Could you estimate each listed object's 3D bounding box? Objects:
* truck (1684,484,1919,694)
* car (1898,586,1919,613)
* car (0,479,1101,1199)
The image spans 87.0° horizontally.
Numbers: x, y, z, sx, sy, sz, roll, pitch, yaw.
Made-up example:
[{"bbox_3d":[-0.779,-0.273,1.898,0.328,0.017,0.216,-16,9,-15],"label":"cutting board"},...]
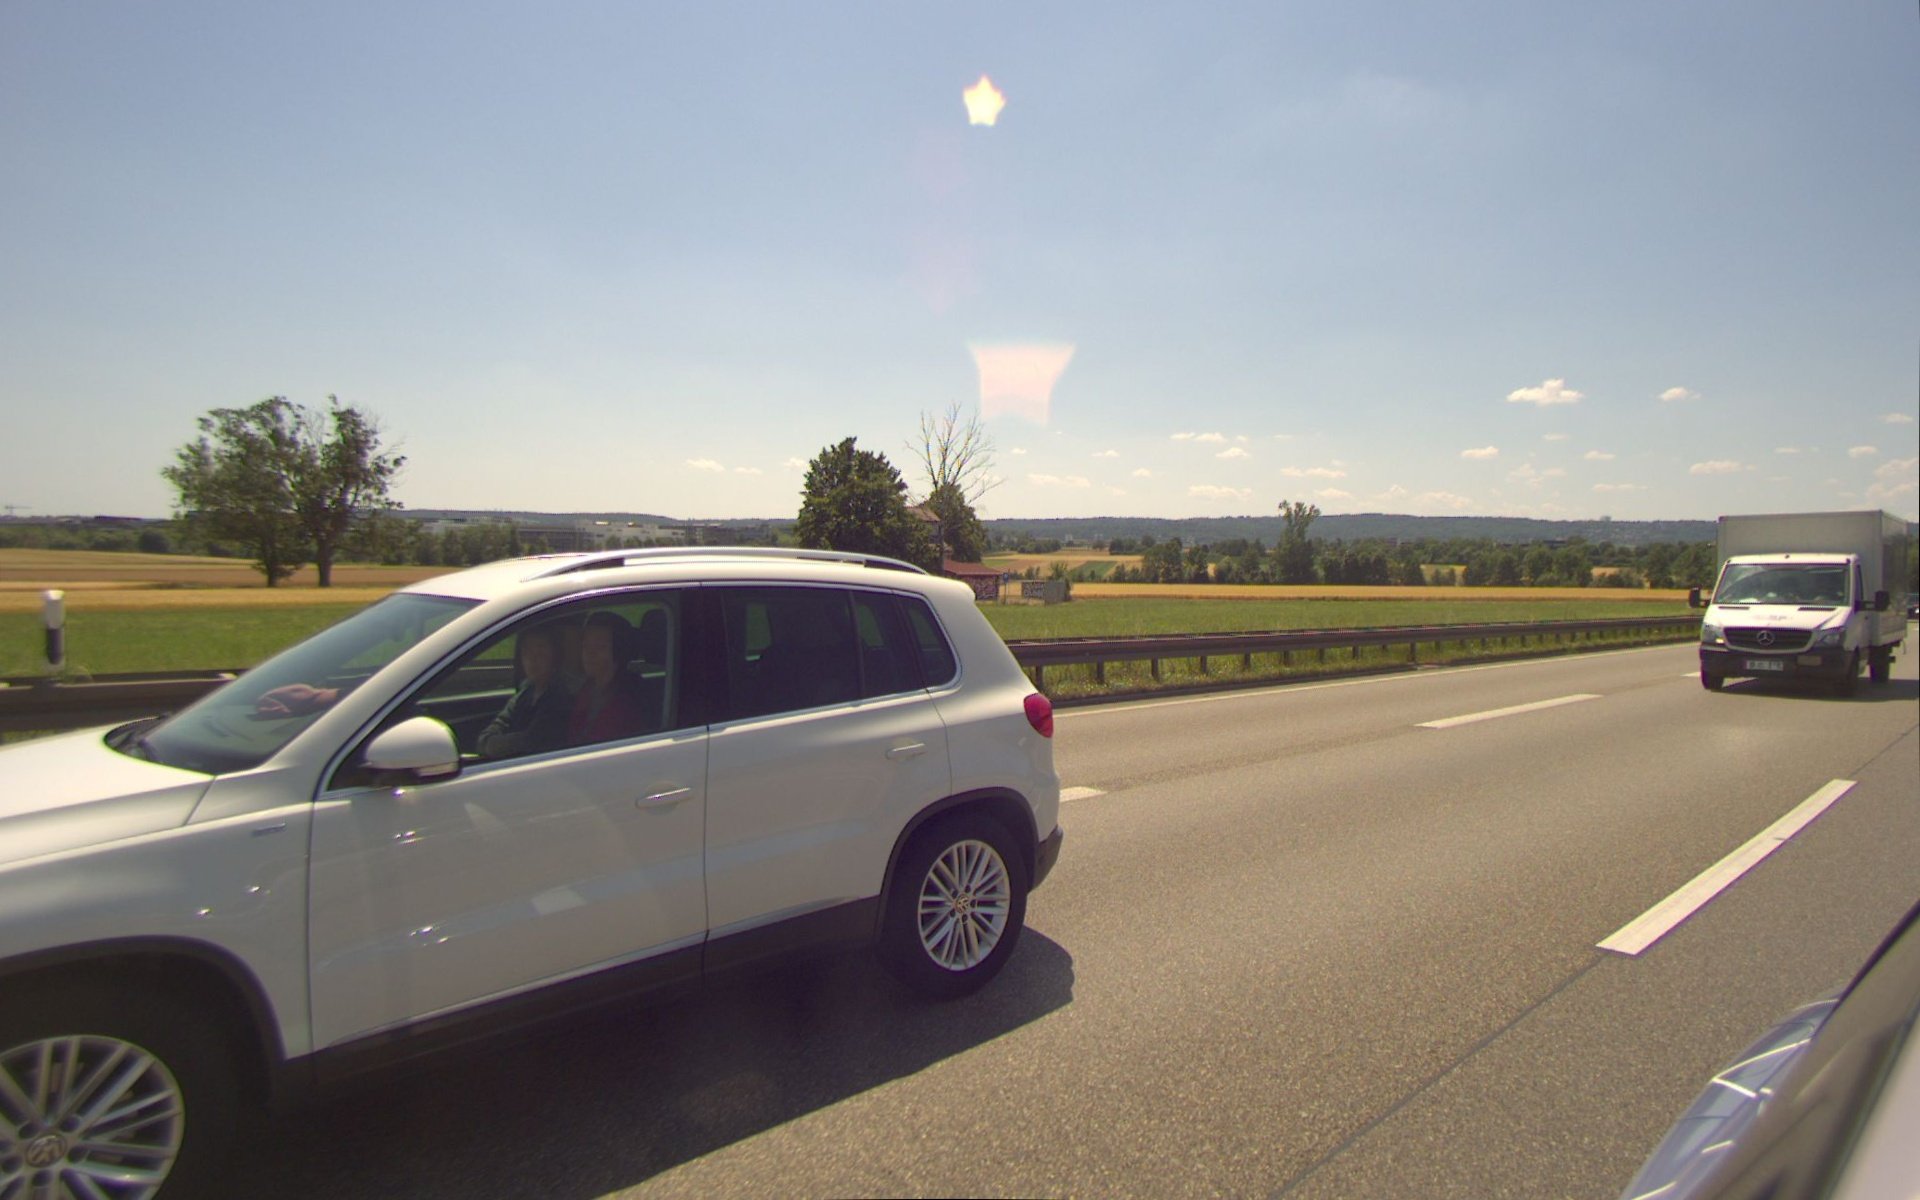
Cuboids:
[{"bbox_3d":[15.223,-0.175,18.048,6.799,3.066,2.442,0,0,-43],"label":"truck"},{"bbox_3d":[66.265,-0.051,69.909,3.933,1.811,1.908,0,1,-43],"label":"car"},{"bbox_3d":[-1.546,0.591,3.553,4.100,1.666,1.835,0,0,-41],"label":"car"}]
